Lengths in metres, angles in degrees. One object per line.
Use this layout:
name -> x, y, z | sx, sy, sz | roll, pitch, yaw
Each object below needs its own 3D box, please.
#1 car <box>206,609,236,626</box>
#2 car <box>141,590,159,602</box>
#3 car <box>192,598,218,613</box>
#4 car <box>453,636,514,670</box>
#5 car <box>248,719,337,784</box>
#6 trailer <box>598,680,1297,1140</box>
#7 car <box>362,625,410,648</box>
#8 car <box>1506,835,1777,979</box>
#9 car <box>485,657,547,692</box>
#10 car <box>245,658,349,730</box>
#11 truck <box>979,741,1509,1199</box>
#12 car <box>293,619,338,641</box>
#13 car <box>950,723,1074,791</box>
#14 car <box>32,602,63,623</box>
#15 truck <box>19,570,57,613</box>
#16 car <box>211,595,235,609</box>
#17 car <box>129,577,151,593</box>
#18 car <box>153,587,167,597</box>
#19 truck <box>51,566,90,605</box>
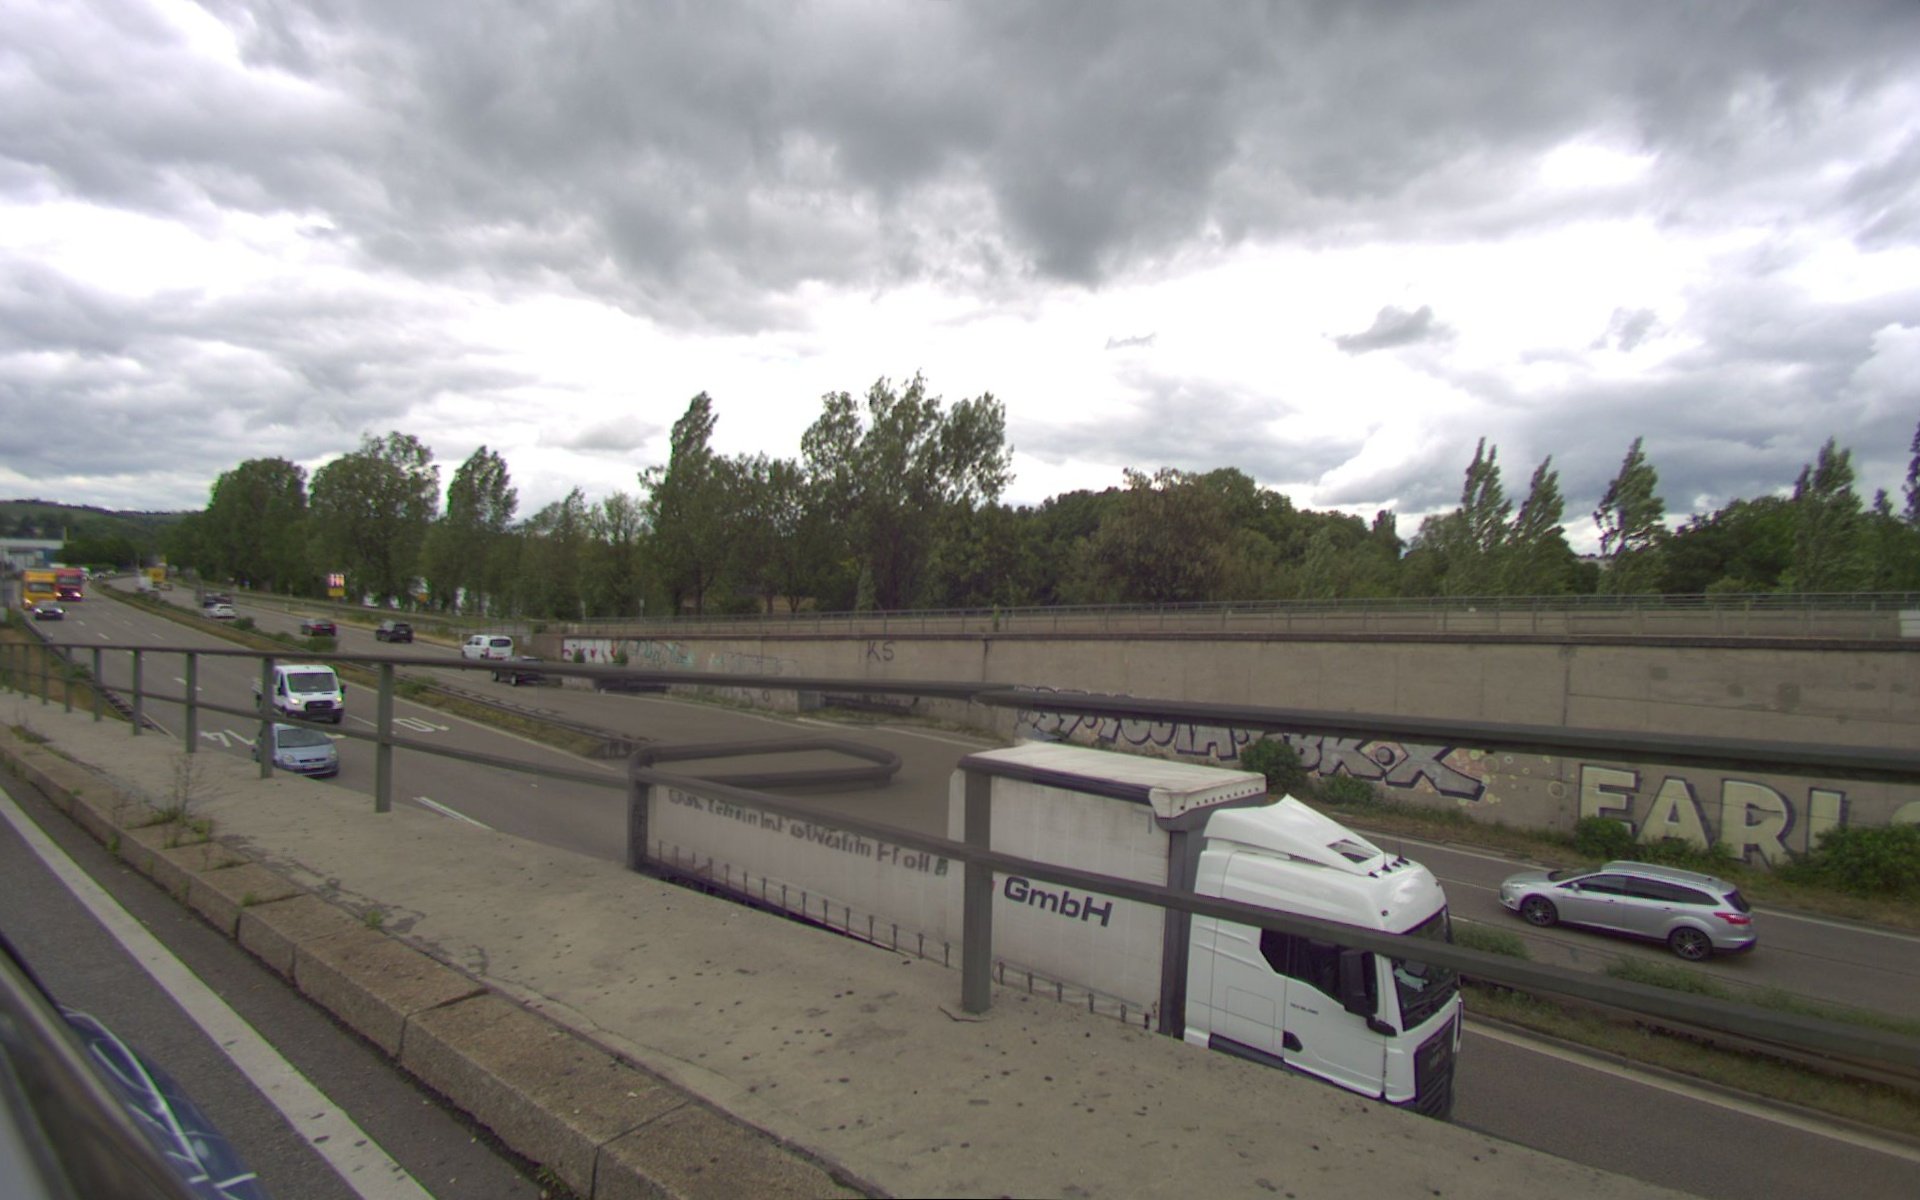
car -> -75.607, 1.813, 103.566 | 3.898, 1.505, 1.755 | 2, -1, 43
car -> -116.166, -0.576, 145.144 | 1.694, 1.464, 3.654 | 2, 1, -44
car -> -93.044, 0.694, 124.745 | 4.183, 1.731, 1.861 | 3, 0, 43
car -> -32.516, 3.569, 68.947 | 4.908, 1.921, 1.927 | 2, 0, 41
car -> -20.649, 4.613, 31.250 | 3.539, 1.382, 1.492 | 3, 0, 43
trailer -> -1.476, 4.155, 17.884 | 13.989, 4.140, 2.970 | 3, 0, 43
car -> -46.981, 2.995, 82.795 | 4.577, 1.638, 1.973 | 2, -1, 41
car -> 13.994, 6.204, 20.937 | 4.490, 1.623, 1.663 | 2, 0, 40
car -> -25.206, 4.174, 57.432 | 3.998, 1.633, 1.648 | 2, 0, 41
car -> -27.510, 3.776, 41.894 | 6.502, 2.259, 2.076 | 3, 0, 43
truck -> 3.509, 4.403, 13.313 | 5.874, 4.140, 2.971 | 3, 0, 43
car -> -54.869, 2.546, 86.184 | 4.577, 1.638, 1.973 | 2, -1, 41
car -> 1.823, 5.568, 36.397 | 4.254, 1.682, 1.693 | 3, 0, 41
car -> -82.249, 1.096, 91.245 | 4.002, 1.679, 1.786 | 3, 1, 44
truck -> -96.752, -0.932, 106.154 | 8.175, 4.153, 2.382 | 3, 1, 44
car -> -99.543, 0.225, 136.675 | 4.636, 1.664, 1.838 | 3, 0, 45
car -> -148.599, -2.760, 183.315 | 6.101, 2.613, 2.144 | 3, 1, 42
car -> -151.980, -1.516, 192.304 | 3.775, 1.664, 1.640 | 3, 0, 45
truck -> -114.307, -1.924, 130.017 | 9.922, 4.774, 2.717 | 2, -2, 44
